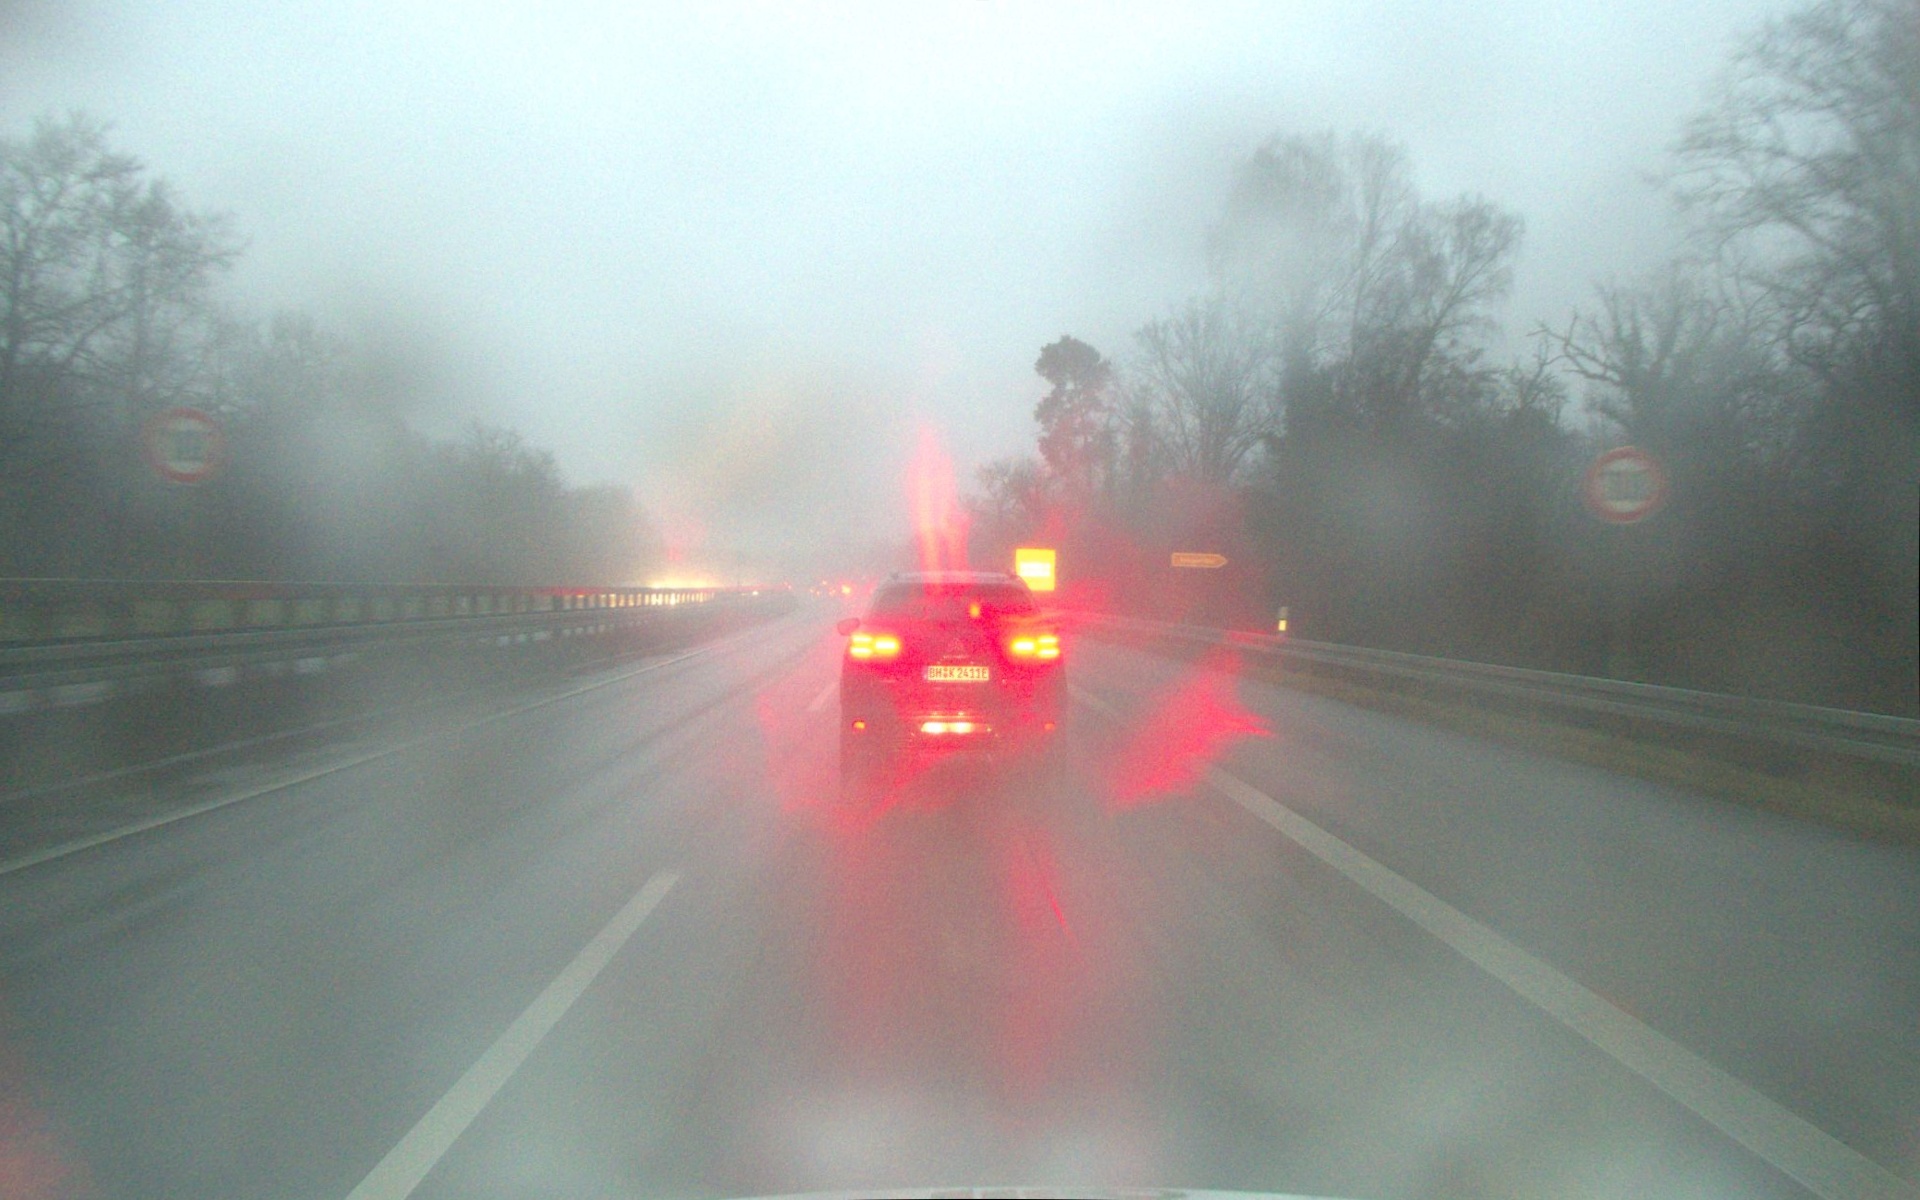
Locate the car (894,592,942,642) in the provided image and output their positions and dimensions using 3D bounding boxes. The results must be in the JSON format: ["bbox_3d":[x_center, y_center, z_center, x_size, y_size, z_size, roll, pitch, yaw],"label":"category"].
[{"bbox_3d":[-1.811,0.698,70.337,1.953,2.049,3.999,1,0,-2],"label":"car"}]

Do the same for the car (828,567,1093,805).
[{"bbox_3d":[-0.038,0.633,14.198,1.952,1.745,3.829,1,0,-1],"label":"car"}]
